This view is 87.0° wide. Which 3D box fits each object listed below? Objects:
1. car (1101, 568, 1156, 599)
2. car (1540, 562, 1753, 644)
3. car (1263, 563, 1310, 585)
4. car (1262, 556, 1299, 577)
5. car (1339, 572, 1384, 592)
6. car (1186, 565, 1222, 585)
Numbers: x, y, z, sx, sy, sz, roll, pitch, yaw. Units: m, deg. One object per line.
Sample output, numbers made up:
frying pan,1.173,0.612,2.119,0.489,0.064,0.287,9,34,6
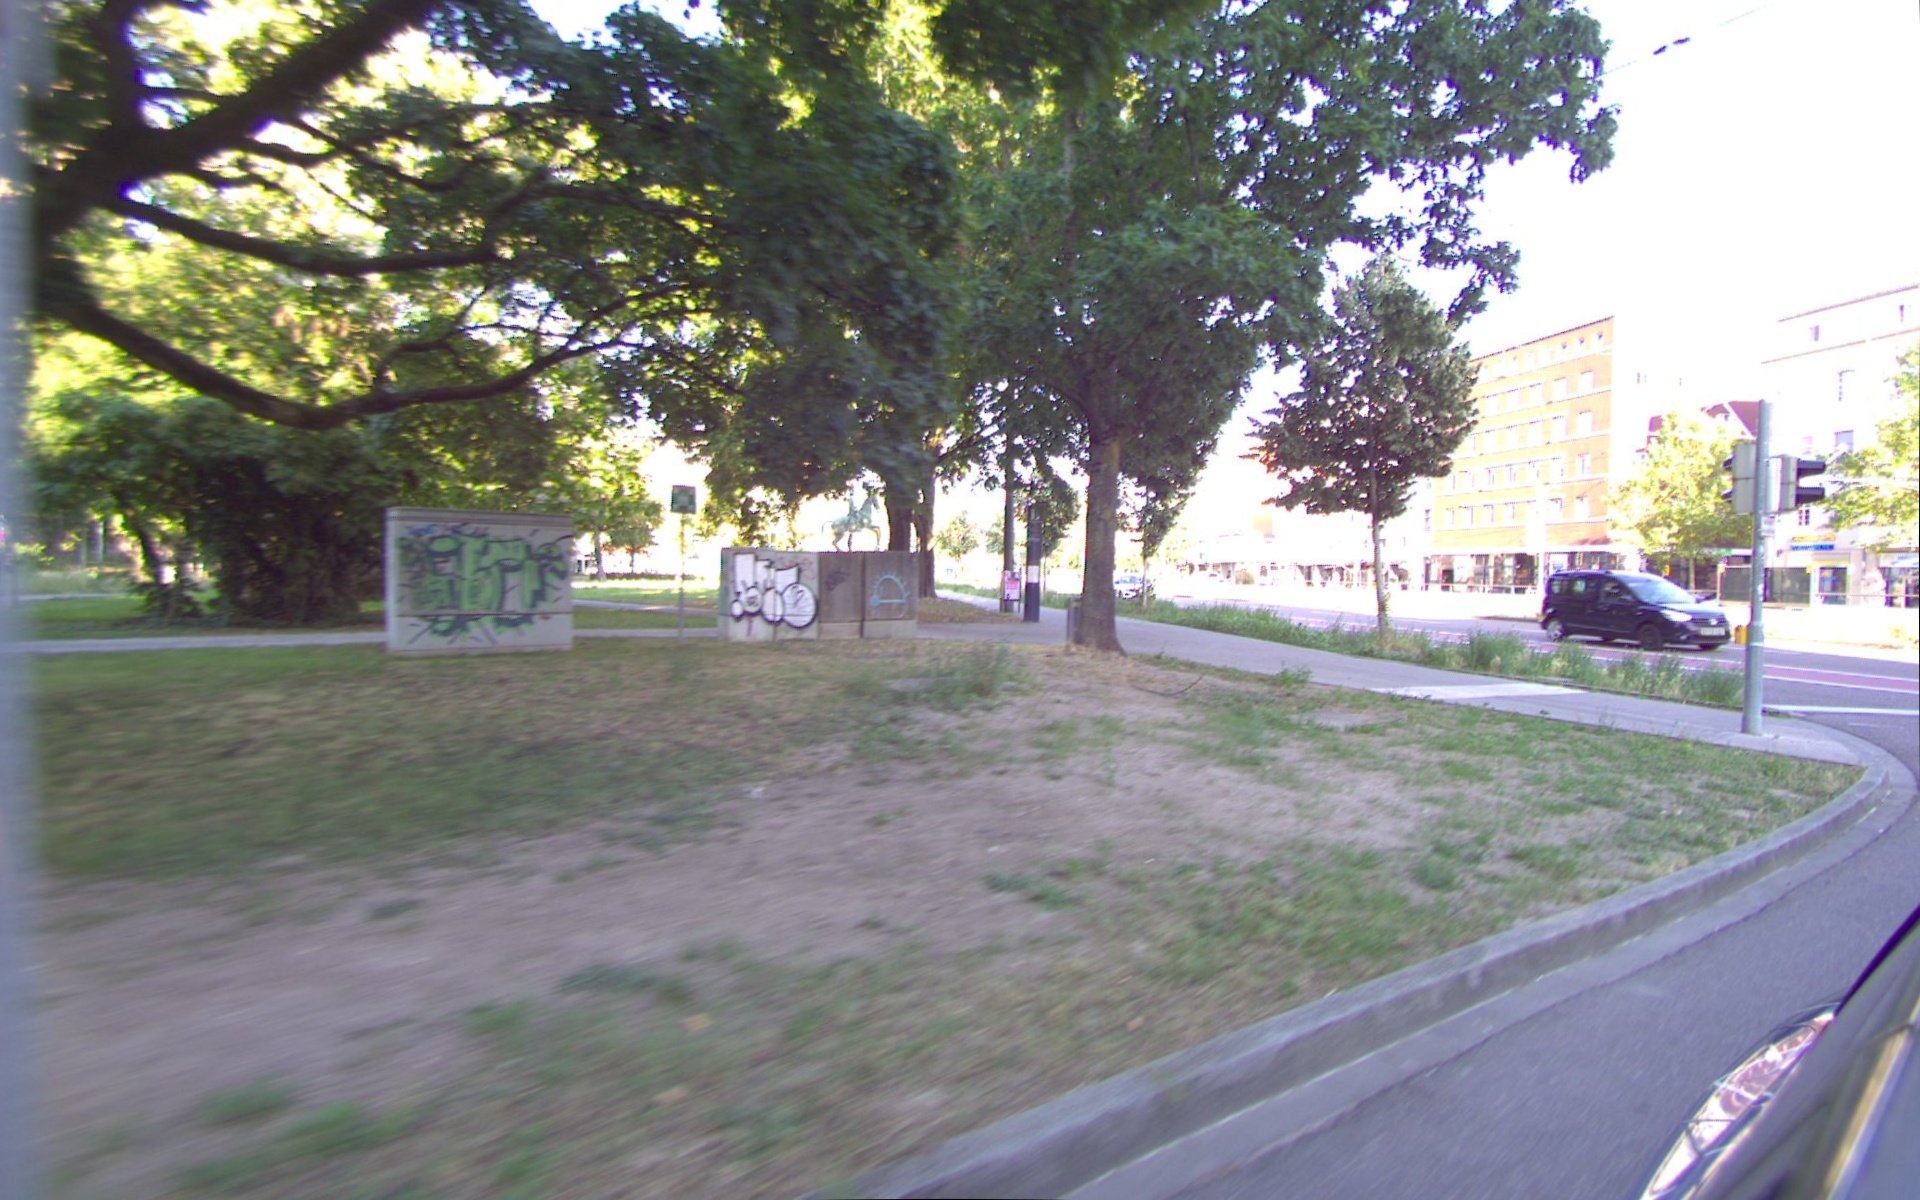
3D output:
car,8.847,-0.897,53.445,1.798,1.556,4.284,0,2,-5
car,15.993,0.000,23.860,1.734,1.754,4.155,0,2,-9
car,28.643,-2.264,88.956,1.959,1.841,4.987,1,2,-7
car,34.331,-3.601,108.623,1.918,2.160,4.581,1,2,-9
car,38.871,-1.761,98.139,1.959,1.819,4.750,1,2,-7
car,26.247,-2.723,108.920,1.959,2.038,4.784,1,2,-9
